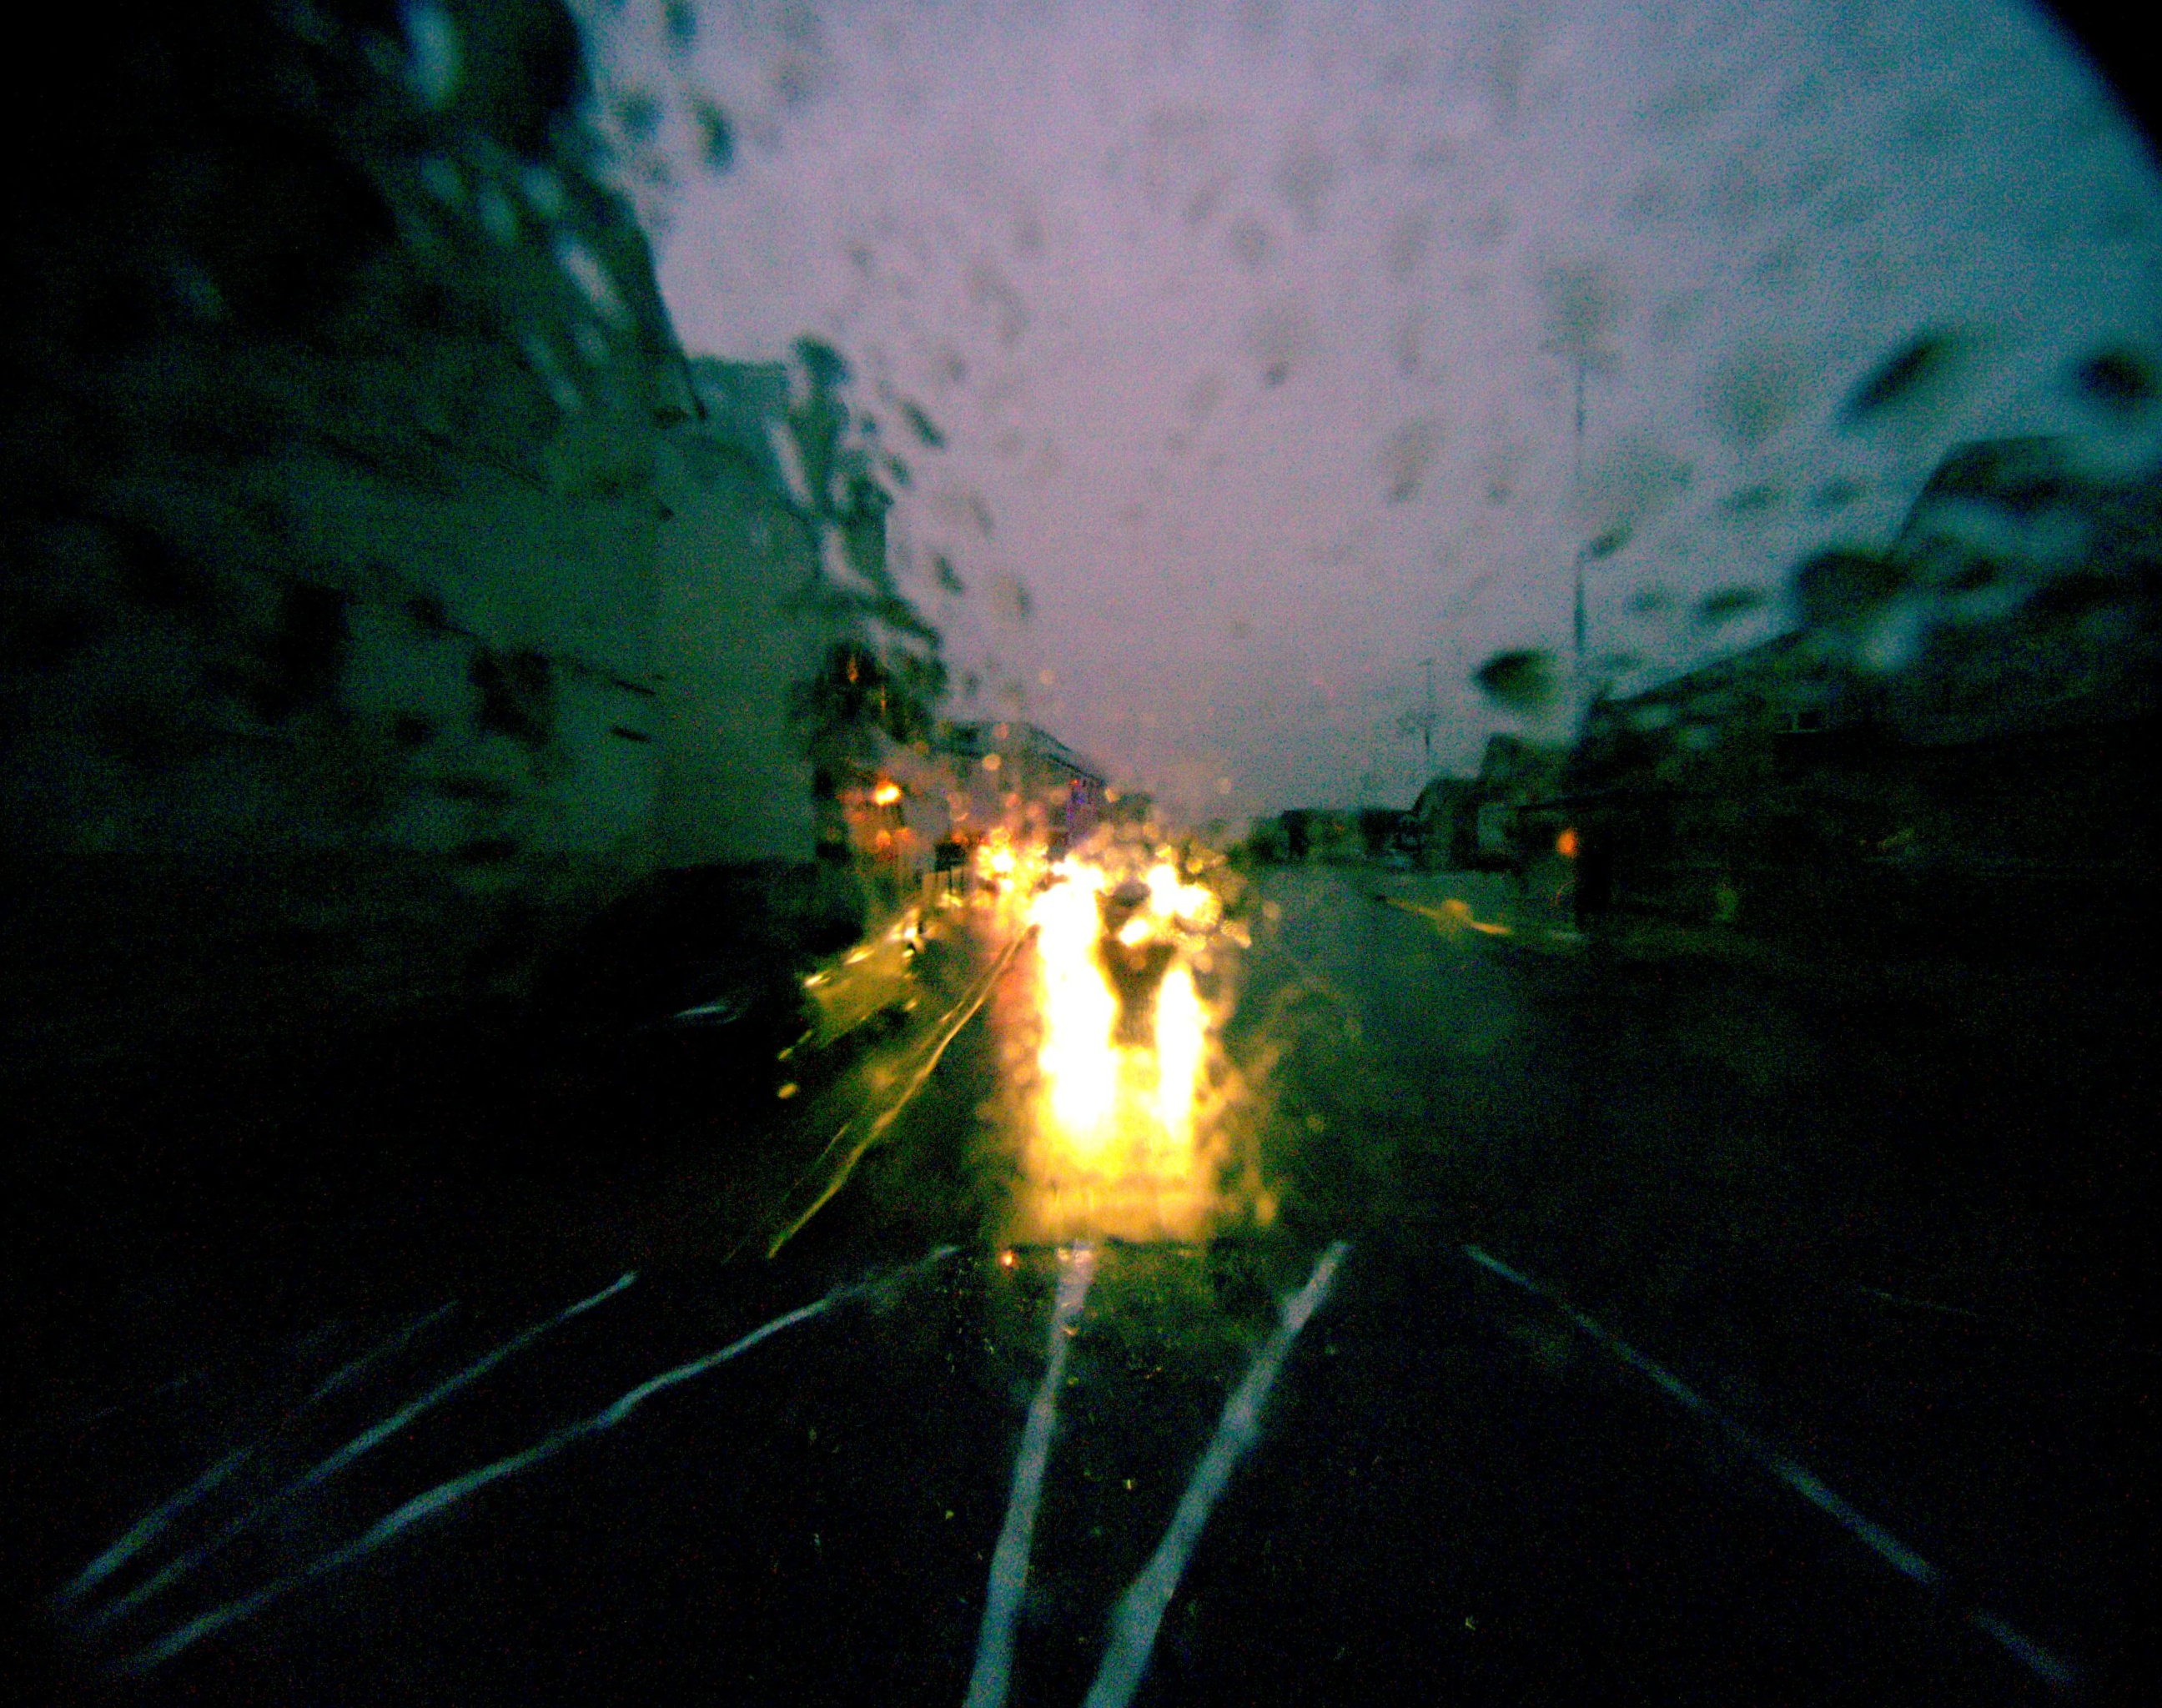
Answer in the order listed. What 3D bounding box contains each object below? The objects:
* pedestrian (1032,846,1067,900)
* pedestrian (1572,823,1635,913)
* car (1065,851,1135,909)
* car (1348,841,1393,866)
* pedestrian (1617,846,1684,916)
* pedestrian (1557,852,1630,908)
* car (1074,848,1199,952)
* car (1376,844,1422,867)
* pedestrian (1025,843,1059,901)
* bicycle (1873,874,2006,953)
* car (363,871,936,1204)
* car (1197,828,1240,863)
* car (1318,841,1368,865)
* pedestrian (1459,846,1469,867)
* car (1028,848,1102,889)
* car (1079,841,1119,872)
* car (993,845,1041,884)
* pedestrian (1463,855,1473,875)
[{"bbox_3d":[-1.081,0.637,25.976,0.789,1.752,0.769,1,4,45],"label":"pedestrian"},{"bbox_3d":[10.448,0.268,15.218,0.749,1.732,0.687,-2,0,2],"label":"pedestrian"},{"bbox_3d":[0.505,0.724,23.307,1.763,1.471,4.017,-3,2,-3],"label":"car"},{"bbox_3d":[25.791,-0.045,67.833,1.926,2.003,3.966,-3,3,-12],"label":"car"},{"bbox_3d":[10.767,0.493,14.387,0.687,1.264,0.750,-2,0,6],"label":"pedestrian"},{"bbox_3d":[11.018,0.562,16.364,0.990,1.151,0.903,-2,-1,11],"label":"pedestrian"},{"bbox_3d":[0.876,0.717,14.125,1.958,1.576,4.109,-2,1,0],"label":"car"},{"bbox_3d":[28.472,0.103,68.082,1.936,1.871,3.866,-3,3,-12],"label":"car"},{"bbox_3d":[-1.288,0.581,25.077,0.789,1.856,0.711,1,4,45],"label":"pedestrian"},{"bbox_3d":[12.510,0.830,11.144,0.470,1.004,1.741,0,1,18],"label":"bicycle"},{"bbox_3d":[-2.515,0.926,5.779,1.732,1.456,4.200,2,0,4],"label":"car"},{"bbox_3d":[8.965,-0.591,49.331,2.055,1.976,4.541,-1,3,19],"label":"car"},{"bbox_3d":[23.159,-0.132,67.306,1.974,1.984,3.991,-4,3,-25],"label":"car"},{"bbox_3d":[29.729,0.180,58.981,0.582,1.602,0.500,-2,3,6],"label":"pedestrian"},{"bbox_3d":[-0.777,0.555,32.749,2.030,1.471,4.550,-3,3,-16],"label":"car"},{"bbox_3d":[1.038,0.106,44.050,2.172,1.469,3.998,-2,3,1],"label":"car"},{"bbox_3d":[-3.332,0.490,38.834,1.827,1.736,3.994,-3,3,-13],"label":"car"},{"bbox_3d":[31.506,0.907,61.818,0.582,1.602,0.500,-2,3,6],"label":"pedestrian"}]
